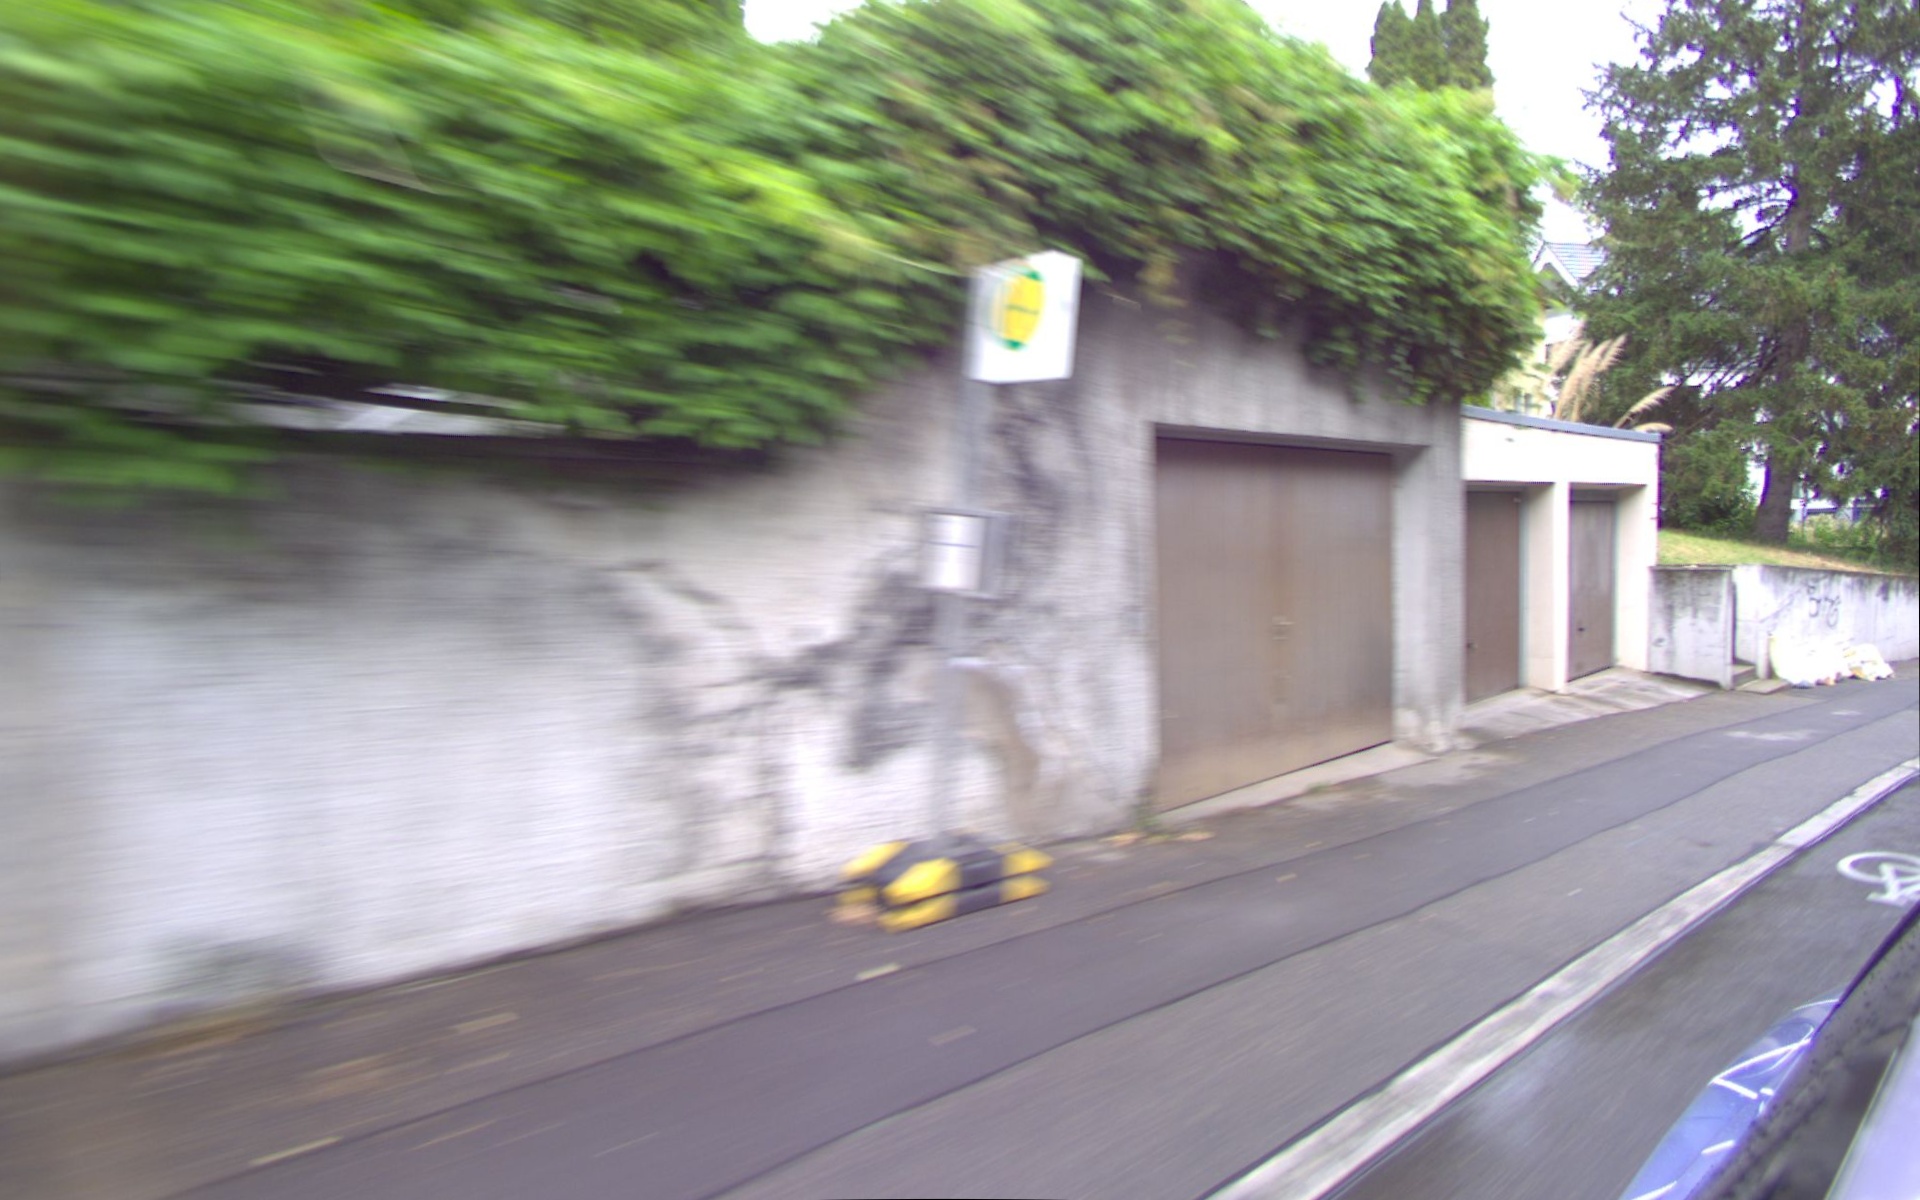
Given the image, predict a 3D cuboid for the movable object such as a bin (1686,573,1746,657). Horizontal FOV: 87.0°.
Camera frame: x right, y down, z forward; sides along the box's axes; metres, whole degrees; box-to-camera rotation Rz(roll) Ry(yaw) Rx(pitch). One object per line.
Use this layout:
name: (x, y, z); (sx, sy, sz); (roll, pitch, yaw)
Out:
movable object such as a bin: (10.279, 0.194, 13.763); (0.484, 1.105, 0.482); (0, 3, -37)
